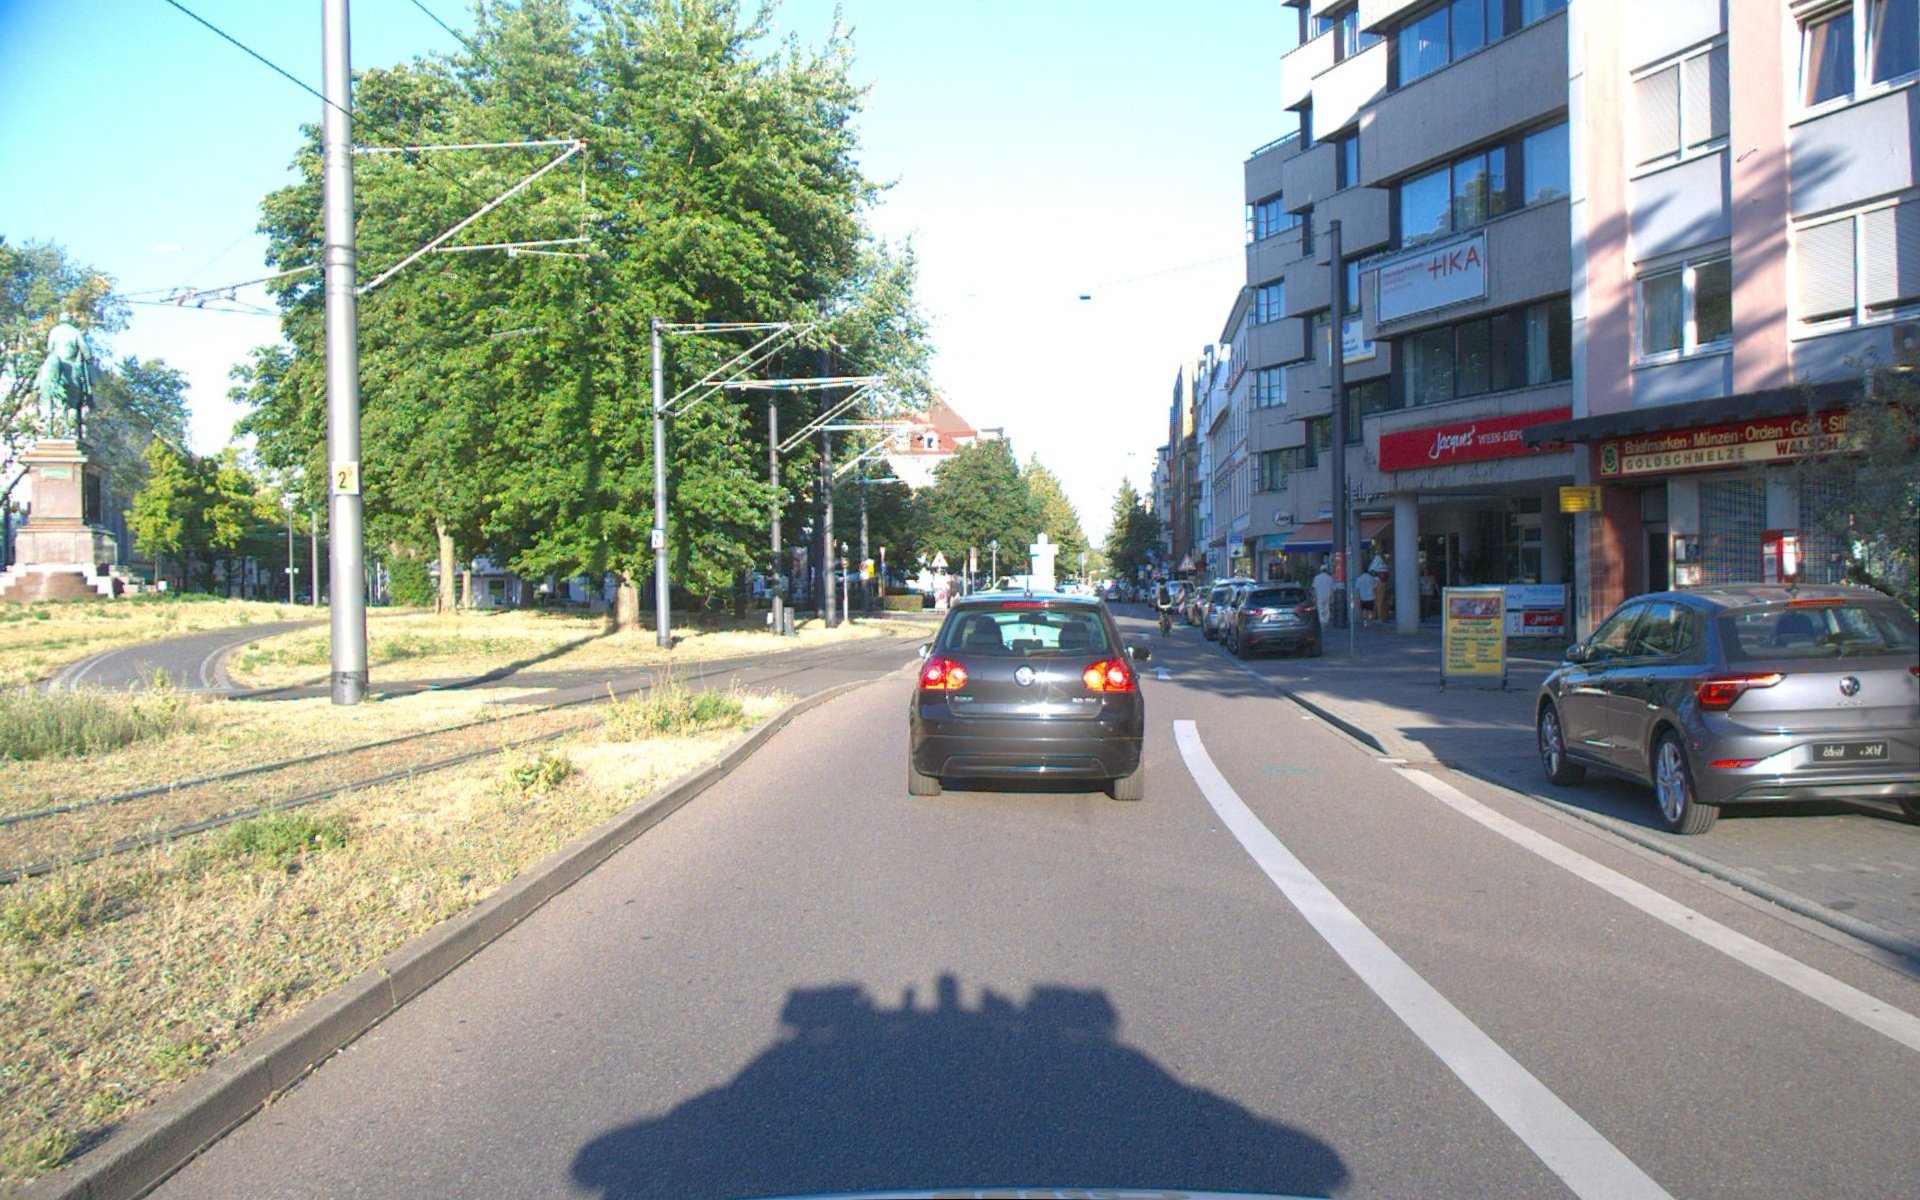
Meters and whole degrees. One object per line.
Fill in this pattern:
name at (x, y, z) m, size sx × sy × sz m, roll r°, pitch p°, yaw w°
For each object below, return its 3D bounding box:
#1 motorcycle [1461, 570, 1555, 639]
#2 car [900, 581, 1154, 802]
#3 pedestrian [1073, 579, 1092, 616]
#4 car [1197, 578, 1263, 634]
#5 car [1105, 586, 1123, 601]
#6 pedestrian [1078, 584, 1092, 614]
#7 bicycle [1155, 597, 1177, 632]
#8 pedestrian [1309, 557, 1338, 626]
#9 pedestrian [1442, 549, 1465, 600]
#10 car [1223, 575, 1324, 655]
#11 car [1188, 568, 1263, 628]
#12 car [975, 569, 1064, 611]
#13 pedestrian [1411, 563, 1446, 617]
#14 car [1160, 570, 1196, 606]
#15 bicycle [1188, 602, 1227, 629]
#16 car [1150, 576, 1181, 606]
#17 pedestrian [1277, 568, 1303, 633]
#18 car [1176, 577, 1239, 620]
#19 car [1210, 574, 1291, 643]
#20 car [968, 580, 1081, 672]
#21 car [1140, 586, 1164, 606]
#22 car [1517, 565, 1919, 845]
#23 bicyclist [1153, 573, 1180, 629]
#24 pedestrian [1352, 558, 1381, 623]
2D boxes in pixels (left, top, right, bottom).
motorcycle at (11.450, 0.092, 34.576) m, size 1.749 × 1.354 × 0.582 m, roll -3°, pitch 0°, yaw -7°
car at (0.620, 0.607, 13.236) m, size 1.711 × 1.486 × 4.106 m, roll 0°, pitch 0°, yaw 5°
pedestrian at (5.884, -0.126, 79.353) m, size 0.842 × 1.736 × 0.941 m, roll 0°, pitch 0°, yaw -1°
car at (7.699, 0.148, 47.413) m, size 1.627 × 1.466 × 3.858 m, roll -3°, pitch 0°, yaw 7°
car at (17.415, -0.726, 187.315) m, size 1.866 × 1.579 × 4.002 m, roll -1°, pitch 1°, yaw 4°
pedestrian at (6.555, -0.040, 86.844) m, size 0.720 × 1.582 × 0.632 m, roll 0°, pitch 0°, yaw 1°
bicycle at (6.058, 0.425, 48.779) m, size 0.566 × 1.004 × 1.937 m, roll 0°, pitch 0°, yaw 5°
pedestrian at (10.160, -0.233, 46.284) m, size 0.609 × 1.890 × 0.662 m, roll -3°, pitch 0°, yaw 6°
pedestrian at (17.315, -0.890, 58.044) m, size 0.588 × 1.790 × 0.519 m, roll 0°, pitch 0°, yaw -19°
car at (6.902, 0.289, 36.737) m, size 1.744 × 1.583 × 4.237 m, roll -3°, pitch 0°, yaw 6°
car at (8.514, -0.078, 53.300) m, size 1.828 × 1.743 × 4.507 m, roll -3°, pitch 0°, yaw 3°
car at (3.860, -0.664, 107.560) m, size 5.433 × 2.640 × 2.141 m, roll 0°, pitch 0°, yaw -22°
pedestrian at (15.104, -0.338, 53.353) m, size 0.968 × 1.702 × 0.642 m, roll -2°, pitch 0°, yaw 6°
car at (11.735, -0.622, 89.230) m, size 1.698 × 1.831 × 3.919 m, roll -2°, pitch 0°, yaw 5°
bicycle at (10.971, 0.687, 73.238) m, size 1.576 × 1.138 × 0.609 m, roll -3°, pitch 1°, yaw 39°
car at (13.288, -0.569, 107.126) m, size 1.884 × 1.873 × 4.020 m, roll -2°, pitch 0°, yaw 6°
pedestrian at (9.312, 0.010, 46.655) m, size 0.566 × 1.790 × 0.662 m, roll -3°, pitch 0°, yaw 6°
car at (9.089, -0.055, 60.976) m, size 1.628 × 1.466 × 3.822 m, roll -3°, pitch 0°, yaw -1°
car at (7.269, 0.194, 41.675) m, size 1.574 × 1.583 × 3.612 m, roll -3°, pitch 0°, yaw 4°
car at (1.186, 0.397, 29.185) m, size 1.826 × 1.466 × 4.199 m, roll -1°, pitch 1°, yaw 4°
car at (15.433, -0.308, 133.260) m, size 1.715 × 1.537 × 3.547 m, roll -2°, pitch 0°, yaw 4°
car at (5.213, 0.573, 11.243) m, size 1.692 × 1.497 × 3.901 m, roll -3°, pitch 0°, yaw 4°
bicyclist at (6.078, 0.028, 48.743) m, size 0.760 × 1.646 × 1.026 m, roll 0°, pitch 0°, yaw 5°
pedestrian at (11.408, -0.272, 46.443) m, size 0.609 × 1.770 × 0.662 m, roll -3°, pitch 0°, yaw 6°
